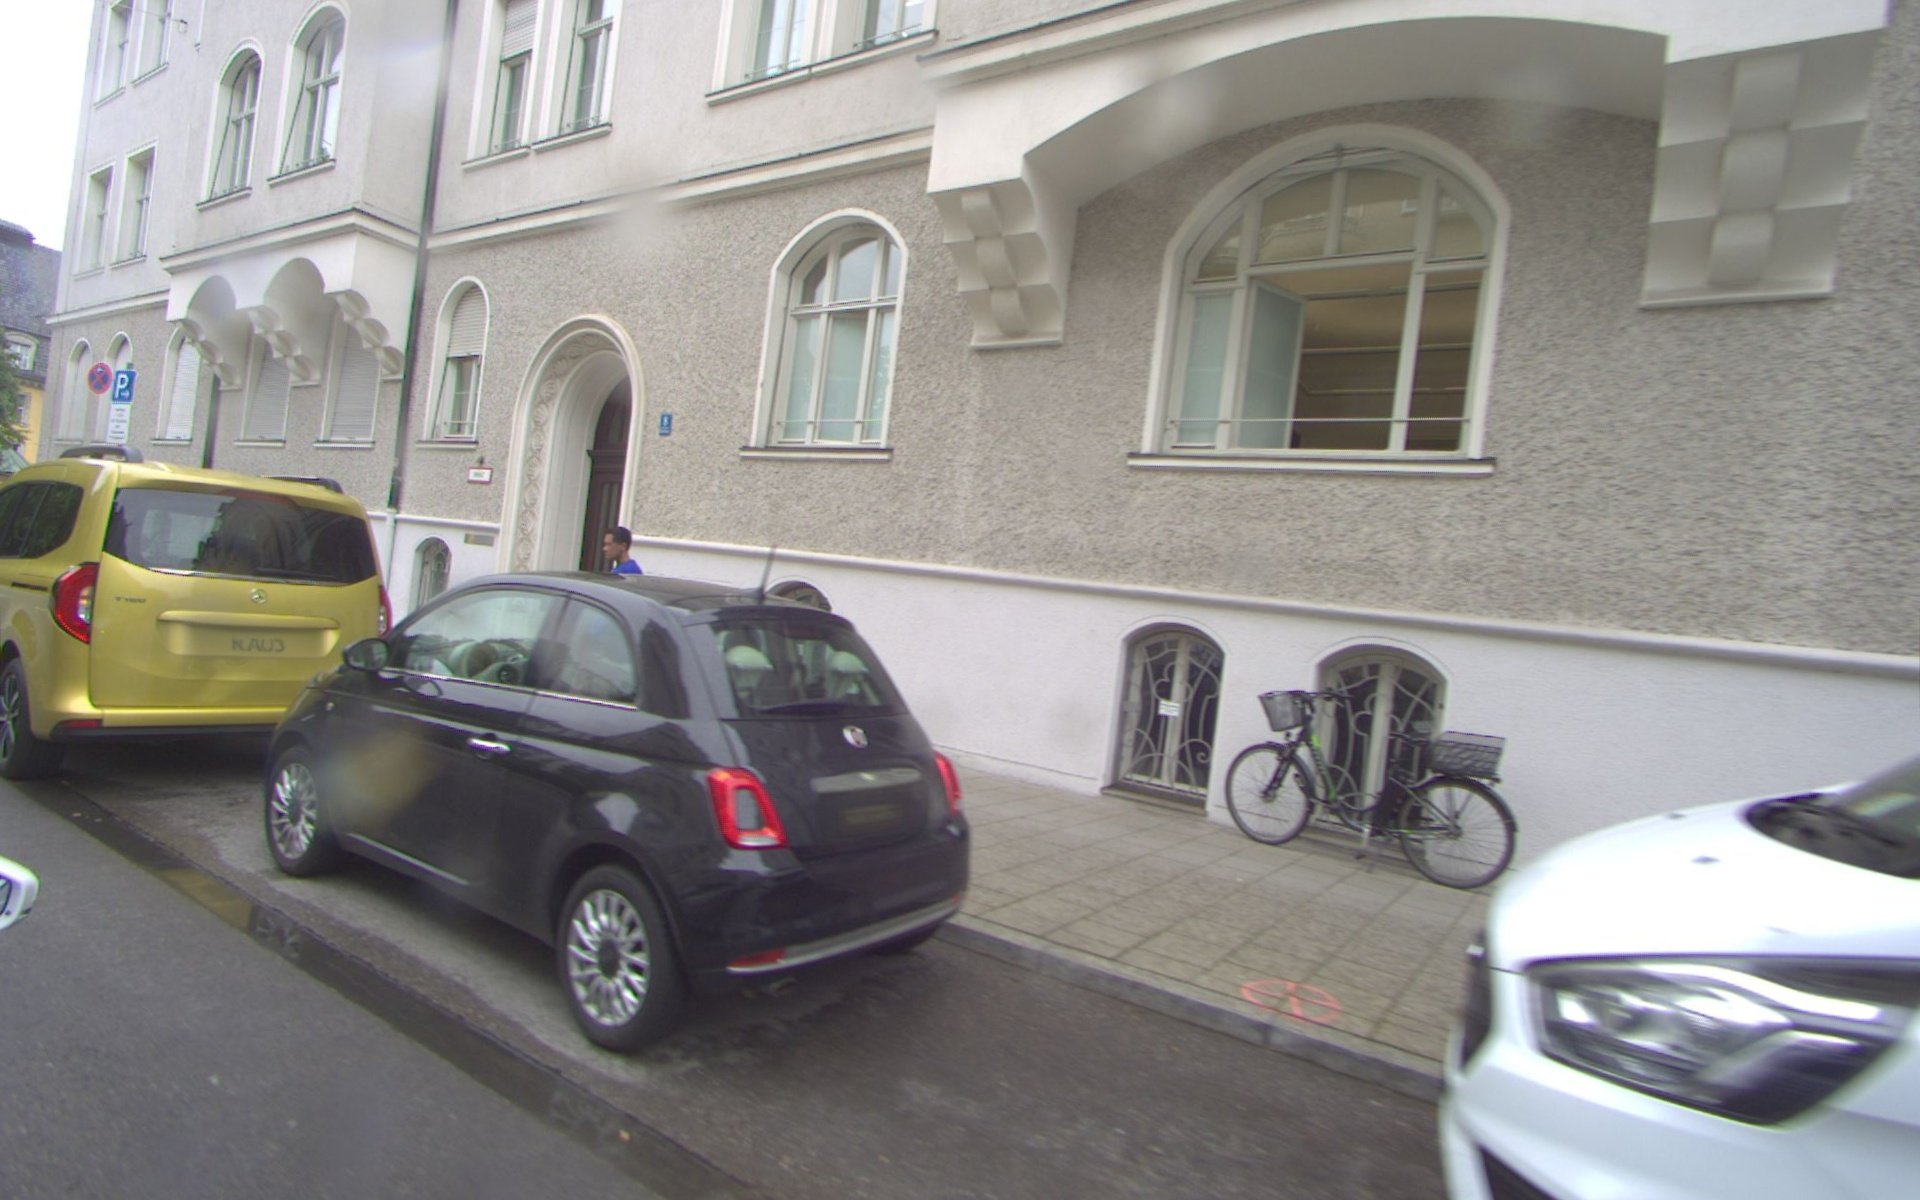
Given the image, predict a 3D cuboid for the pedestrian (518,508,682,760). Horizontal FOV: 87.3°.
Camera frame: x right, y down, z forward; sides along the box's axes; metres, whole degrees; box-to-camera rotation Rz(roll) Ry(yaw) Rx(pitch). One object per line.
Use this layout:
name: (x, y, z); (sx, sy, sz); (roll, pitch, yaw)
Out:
pedestrian: (-2.707, 0.251, 7.581); (0.746, 1.750, 0.658); (7, 0, 32)

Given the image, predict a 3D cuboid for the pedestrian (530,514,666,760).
pedestrian: (-2.677, 0.276, 7.469); (0.447, 1.722, 0.638); (7, 0, 32)

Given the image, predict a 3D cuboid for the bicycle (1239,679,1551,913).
bicycle: (2.835, 1.210, 6.634); (1.694, 1.147, 0.666); (6, 0, 34)

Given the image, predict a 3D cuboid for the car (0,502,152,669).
car: (-10.029, -0.293, 10.215); (3.766, 1.462, 1.714); (6, -1, 34)

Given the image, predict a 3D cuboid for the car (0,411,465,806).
car: (-5.707, -0.070, 7.056); (4.500, 1.941, 1.994); (6, -1, 36)

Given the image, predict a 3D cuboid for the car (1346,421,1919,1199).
car: (3.265, 0.956, 1.358); (4.805, 1.941, 1.996); (6, 0, 32)

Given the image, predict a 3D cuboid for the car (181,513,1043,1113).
car: (-1.758, 0.581, 4.592); (3.823, 1.532, 1.635); (7, -1, 34)

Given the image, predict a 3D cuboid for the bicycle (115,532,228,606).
bicycle: (-14.790, -0.592, 18.836); (2.713, 1.128, 0.838); (7, 3, 34)
